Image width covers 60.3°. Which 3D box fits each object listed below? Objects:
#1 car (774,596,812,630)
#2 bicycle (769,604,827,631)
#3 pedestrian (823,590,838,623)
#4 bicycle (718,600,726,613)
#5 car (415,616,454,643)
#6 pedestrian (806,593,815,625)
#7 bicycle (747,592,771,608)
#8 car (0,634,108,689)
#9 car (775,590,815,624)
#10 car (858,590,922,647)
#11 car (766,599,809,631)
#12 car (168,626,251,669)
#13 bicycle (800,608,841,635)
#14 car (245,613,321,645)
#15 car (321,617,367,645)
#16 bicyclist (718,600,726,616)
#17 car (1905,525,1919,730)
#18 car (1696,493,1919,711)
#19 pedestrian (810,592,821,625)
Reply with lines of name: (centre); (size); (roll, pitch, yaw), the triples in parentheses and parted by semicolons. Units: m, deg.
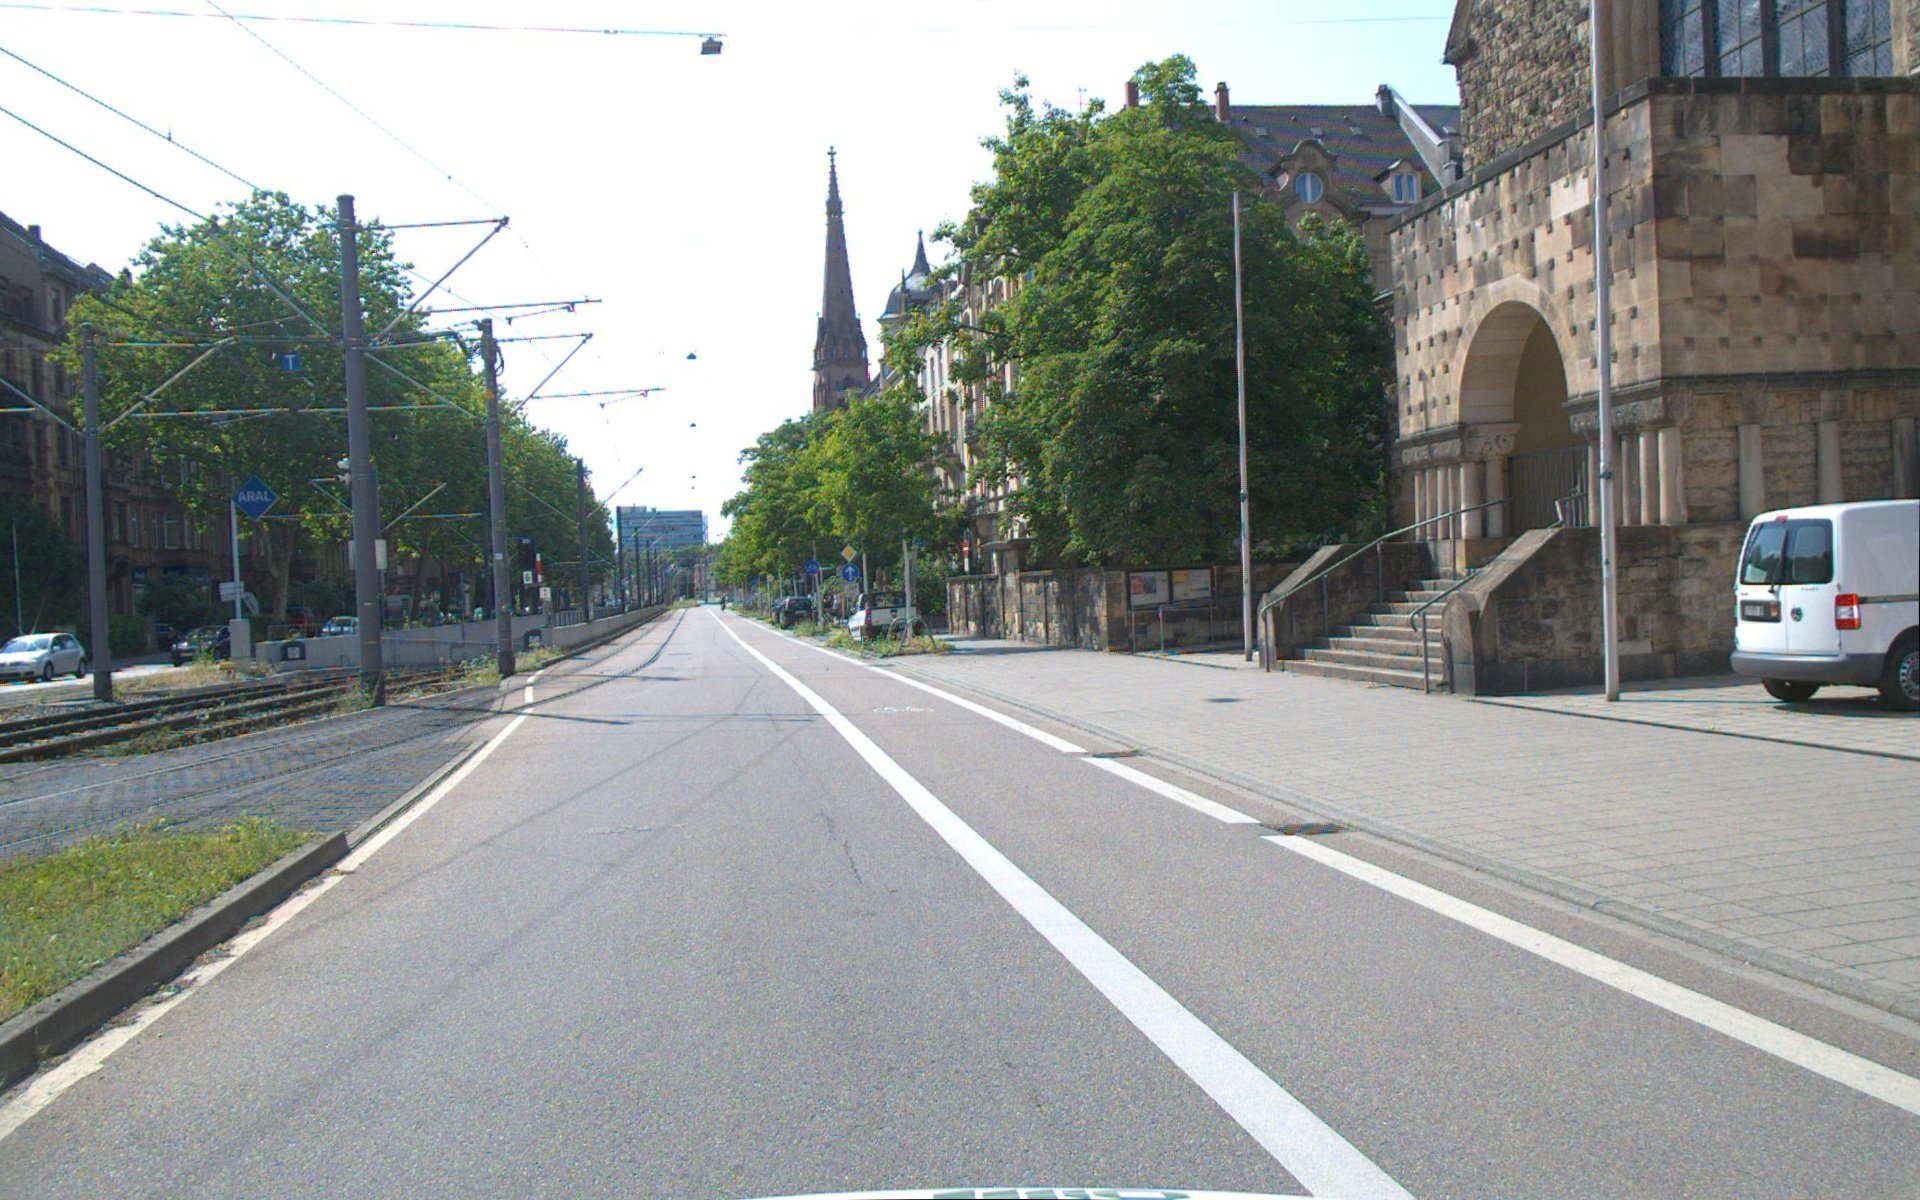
car: (-7.823, 0.591, 77.723); (1.636, 1.441, 3.583); (-3, 1, -4)
bicycle: (-8.578, 0.936, 87.761); (2.906, 1.268, 0.788); (-3, 0, -22)
pedestrian: (-7.371, 0.386, 94.246); (0.657, 1.835, 0.318); (-5, 1, -11)
bicycle: (-25.293, 0.681, 175.828); (0.784, 1.258, 2.772); (-2, 0, -8)
car: (-38.891, 2.194, 122.437); (1.684, 1.720, 3.728); (-4, 1, -3)
pedestrian: (-8.419, 0.513, 93.227); (0.311, 1.736, 0.461); (-5, 1, 5)
bicycle: (-16.640, 0.004, 136.638); (1.790, 1.165, 0.648); (-5, 1, -21)
car: (-28.985, 1.929, 52.850); (1.690, 1.441, 4.397); (-4, 1, -8)
car: (-8.118, 0.321, 81.264); (1.655, 1.528, 4.699); (-3, 1, -9)
car: (-1.887, 0.483, 45.636); (1.634, 1.441, 3.843); (-1, 1, -1)
car: (-9.527, 0.810, 91.163); (1.768, 1.553, 4.475); (-5, 1, -13)
car: (-28.925, 1.800, 63.861); (1.636, 1.441, 3.779); (-3, 1, -4)
bicycle: (-6.096, 0.931, 72.408); (1.678, 1.088, 0.469); (-3, 0, -16)
car: (-45.562, 1.947, 111.338); (4.323, 1.951, 1.995); (-3, 0, -11)
car: (-33.692, 1.688, 90.573); (1.469, 1.325, 3.486); (-5, 1, -7)
bicyclist: (-25.293, 0.852, 175.880); (0.756, 1.760, 1.024); (-2, 0, -9)
car: (9.270, 0.130, 12.207); (3.700, 1.574, 1.793); (-3, 1, -11)
car: (9.286, -0.068, 15.586); (3.932, 1.855, 1.858); (-3, 1, -12)
pedestrian: (-8.195, 0.486, 93.901); (0.451, 1.835, 0.318); (-5, 1, -11)
